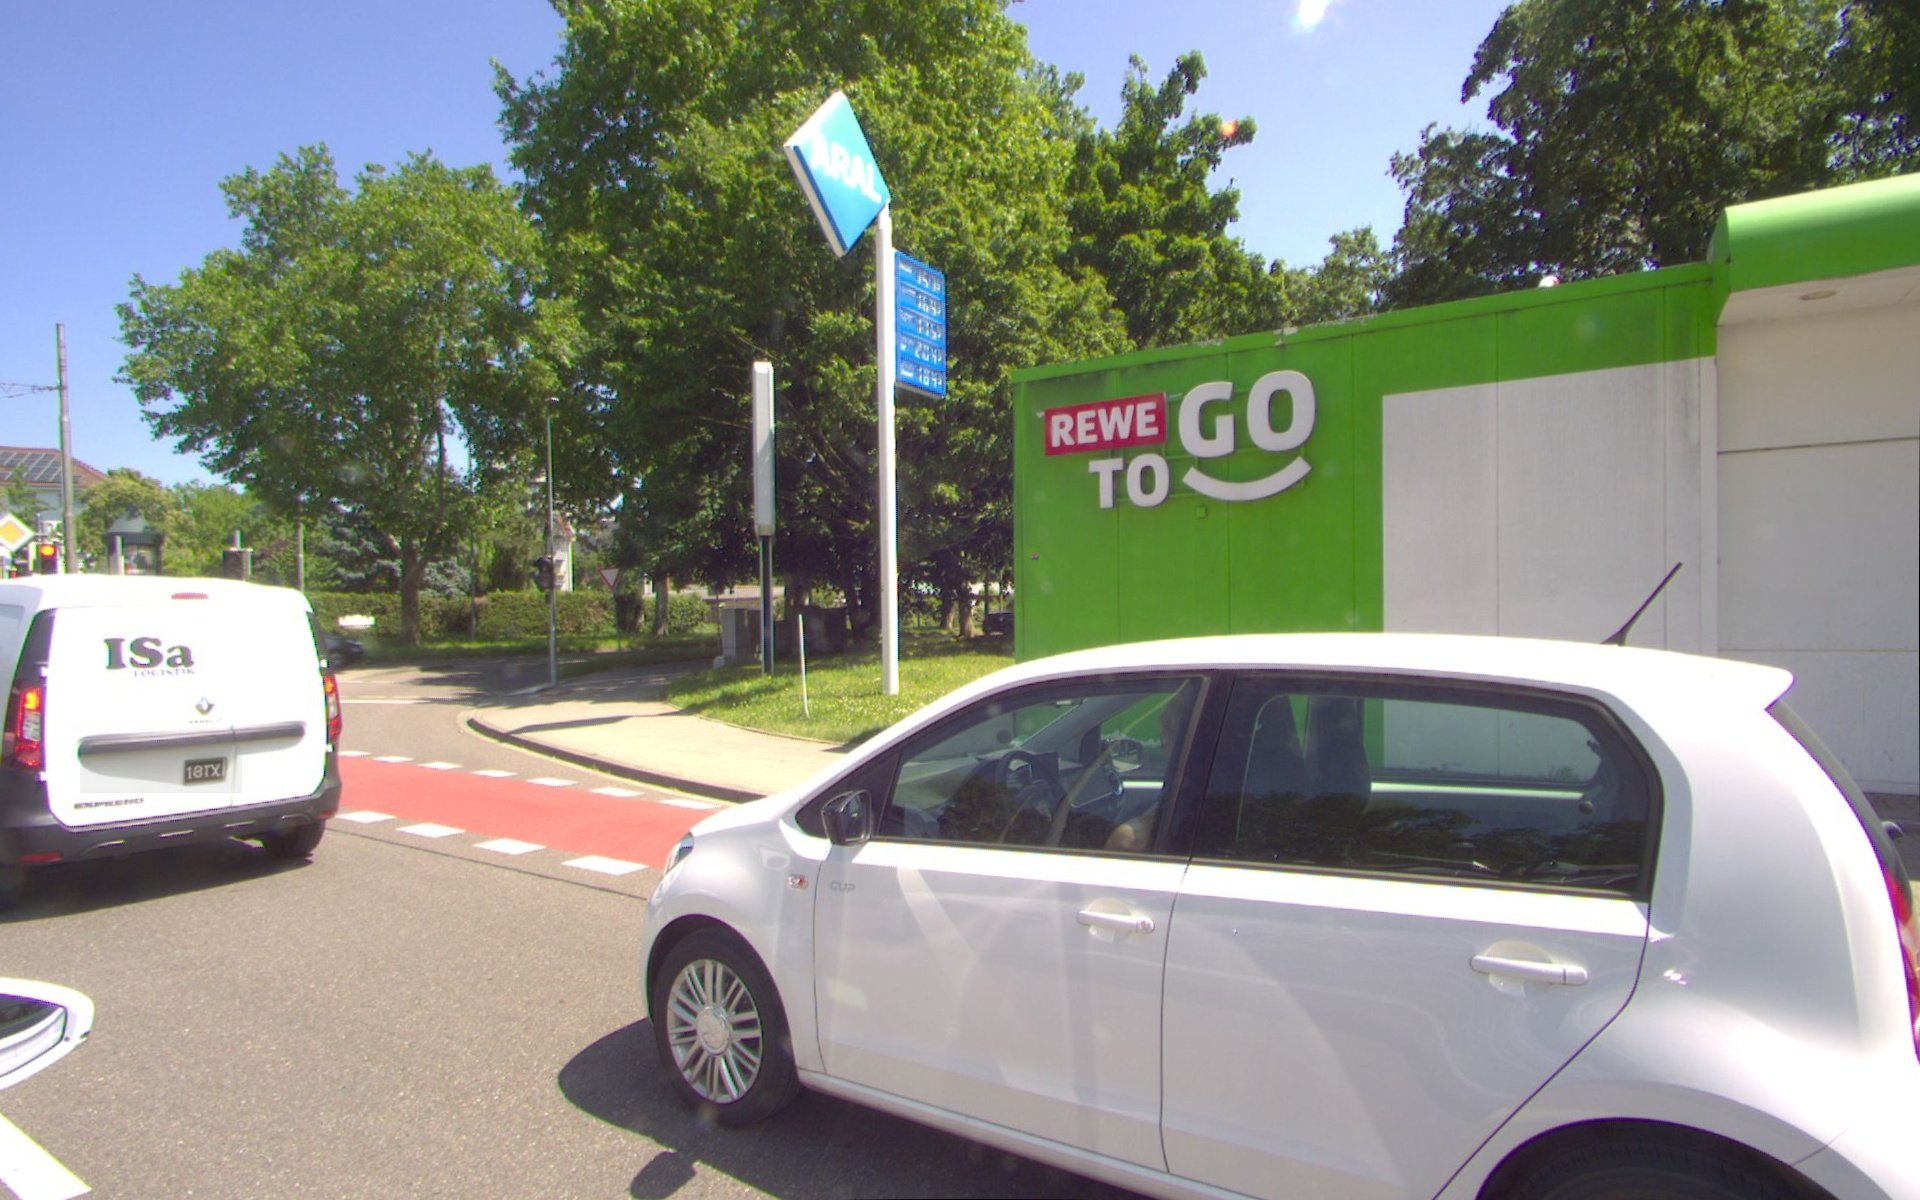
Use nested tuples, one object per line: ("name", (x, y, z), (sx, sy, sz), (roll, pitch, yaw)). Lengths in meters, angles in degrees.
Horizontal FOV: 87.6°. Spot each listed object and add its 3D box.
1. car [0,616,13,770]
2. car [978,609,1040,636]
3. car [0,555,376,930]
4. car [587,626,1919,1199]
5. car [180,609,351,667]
("car", (-11.951, 0.941, 10.636), (3.943, 1.589, 1.832), (0, -1, 32))
("car", (3.094, 1.434, 62.379), (1.681, 1.617, 3.965), (0, -1, 44))
("car", (-5.842, 0.746, 6.633), (4.005, 1.811, 1.725), (-1, -2, 31))
("car", (0.648, 0.830, 2.995), (3.387, 1.466, 1.606), (0, -1, 33))
("car", (-20.553, 1.114, 29.725), (3.963, 1.617, 1.682), (2, -1, -45))
